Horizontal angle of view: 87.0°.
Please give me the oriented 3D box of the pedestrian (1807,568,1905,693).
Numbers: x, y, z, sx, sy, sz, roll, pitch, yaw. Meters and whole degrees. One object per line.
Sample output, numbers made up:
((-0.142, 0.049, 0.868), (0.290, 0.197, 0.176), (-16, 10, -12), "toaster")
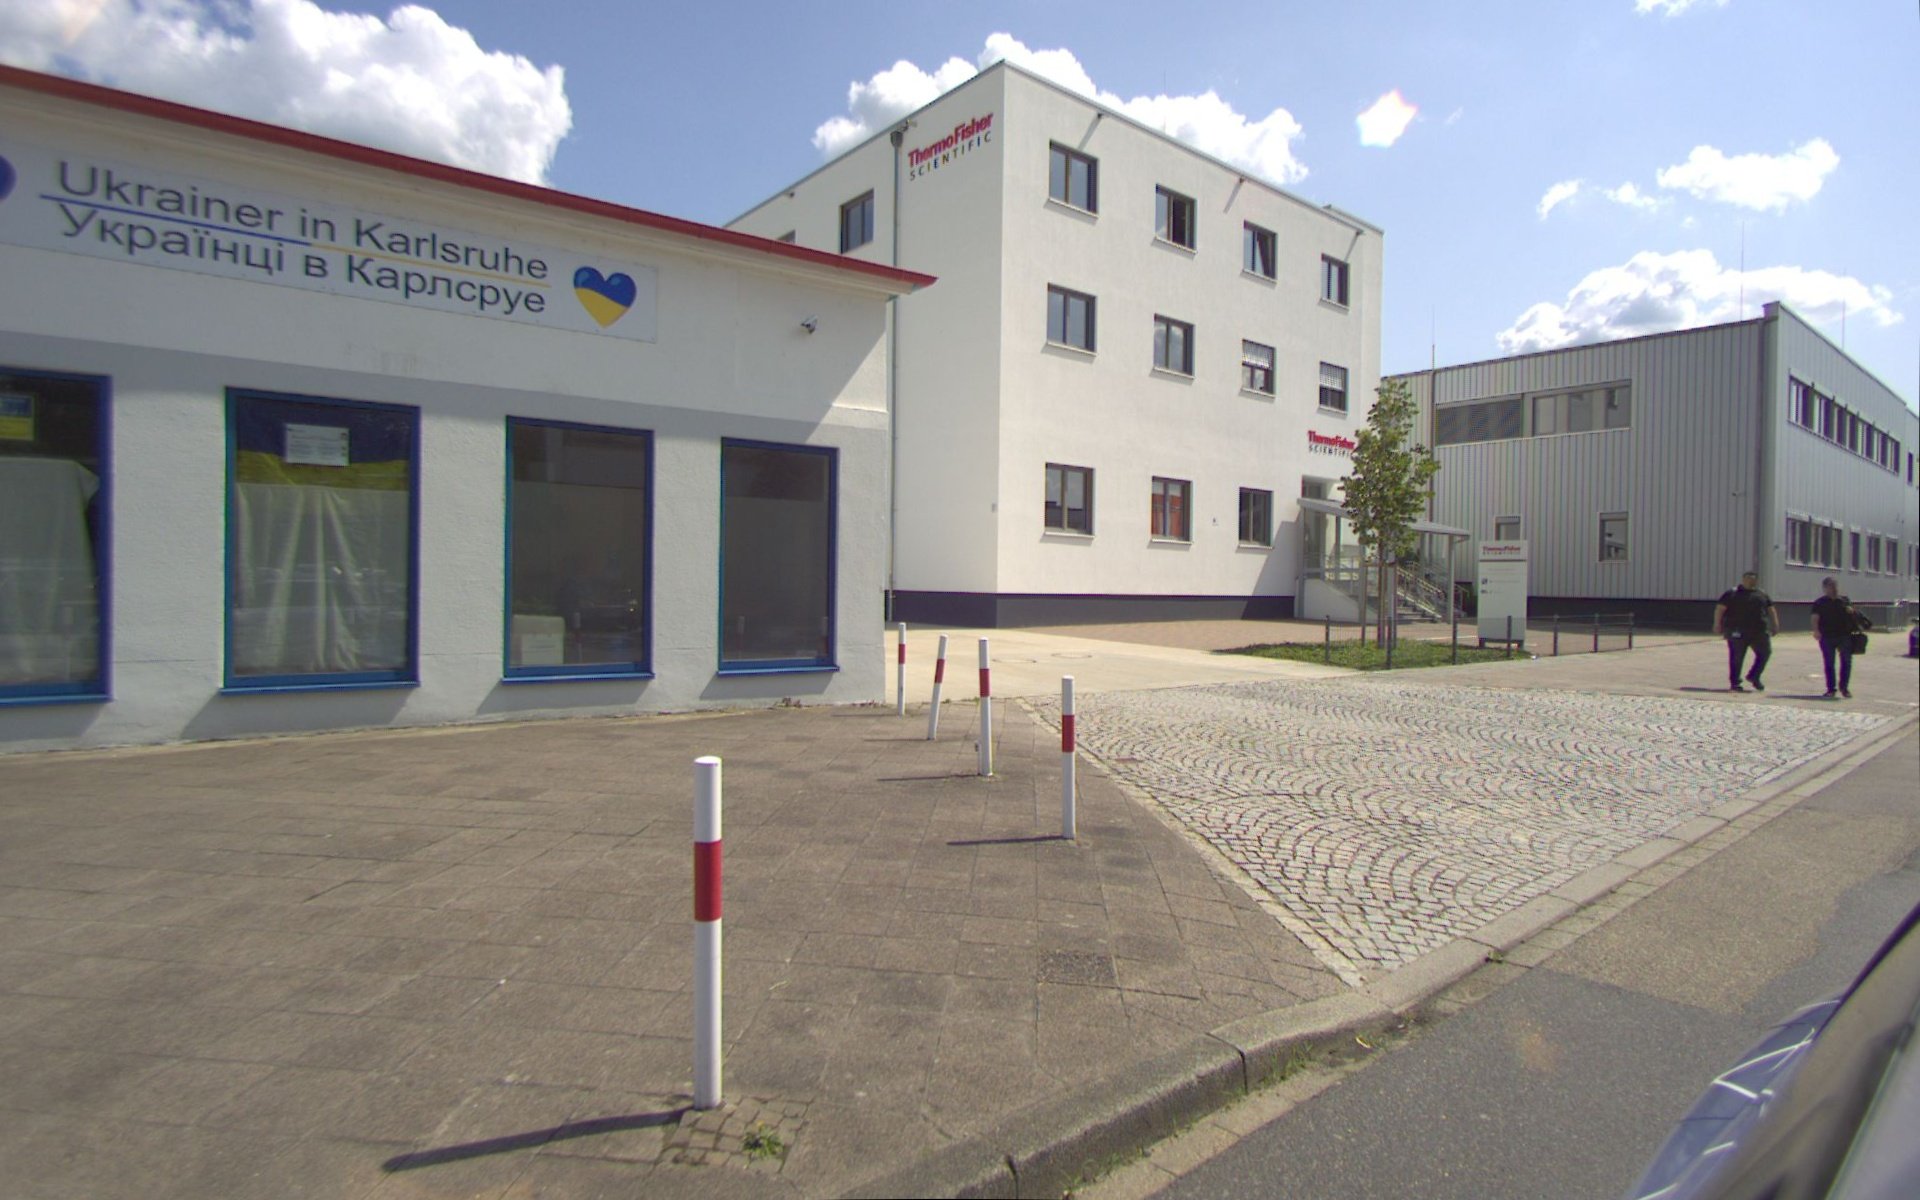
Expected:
((13.676, 0.435, 15.488), (0.851, 1.830, 0.996), (2, 1, 27), "pedestrian")

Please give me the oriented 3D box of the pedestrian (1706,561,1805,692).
((12.583, 0.378, 16.052), (0.983, 1.976, 1.081), (2, 1, 27), "pedestrian")
